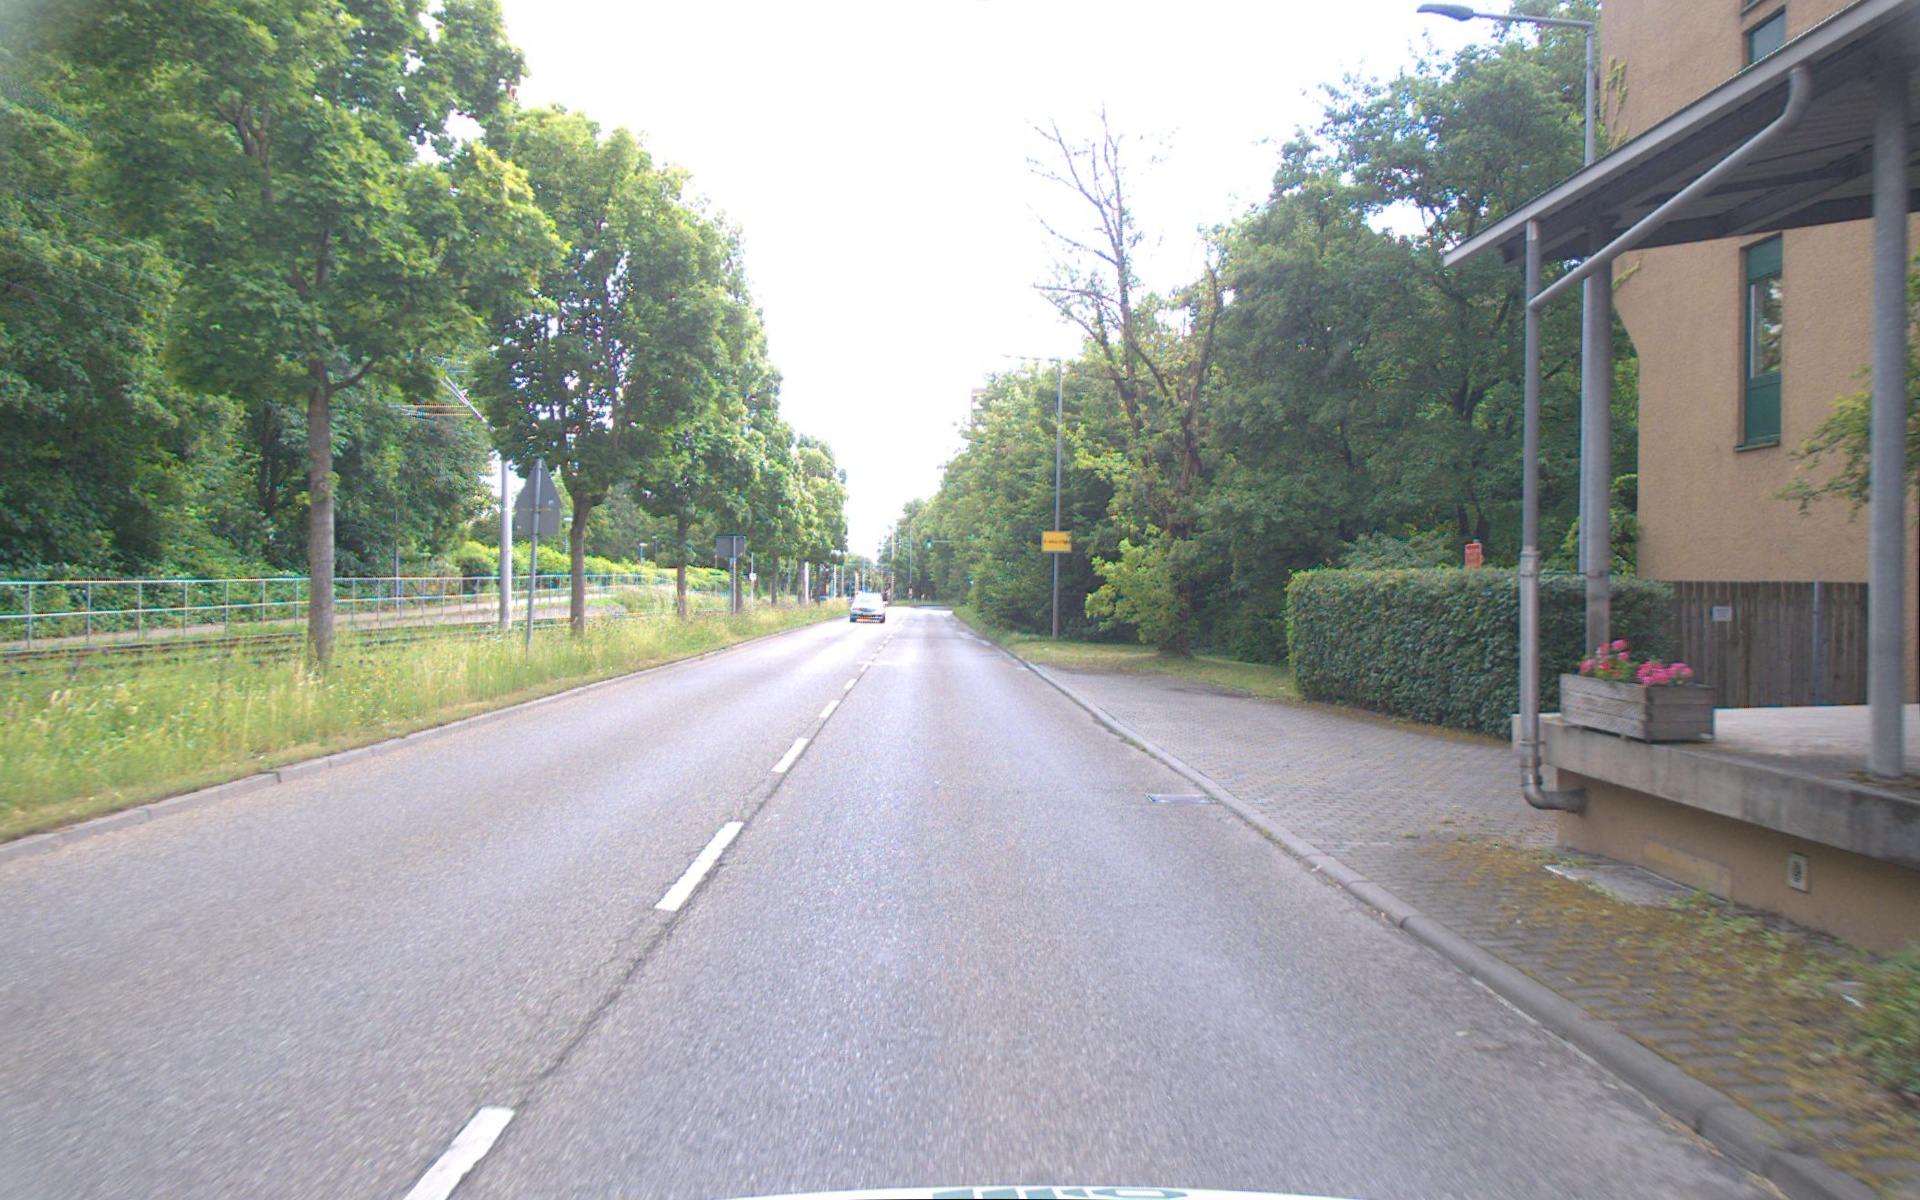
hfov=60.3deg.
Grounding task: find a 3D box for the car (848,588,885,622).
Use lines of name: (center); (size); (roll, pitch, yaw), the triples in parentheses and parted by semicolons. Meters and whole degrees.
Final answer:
car: (-4.780, 0.224, 84.759); (1.681, 1.658, 3.999); (1, 0, -1)
